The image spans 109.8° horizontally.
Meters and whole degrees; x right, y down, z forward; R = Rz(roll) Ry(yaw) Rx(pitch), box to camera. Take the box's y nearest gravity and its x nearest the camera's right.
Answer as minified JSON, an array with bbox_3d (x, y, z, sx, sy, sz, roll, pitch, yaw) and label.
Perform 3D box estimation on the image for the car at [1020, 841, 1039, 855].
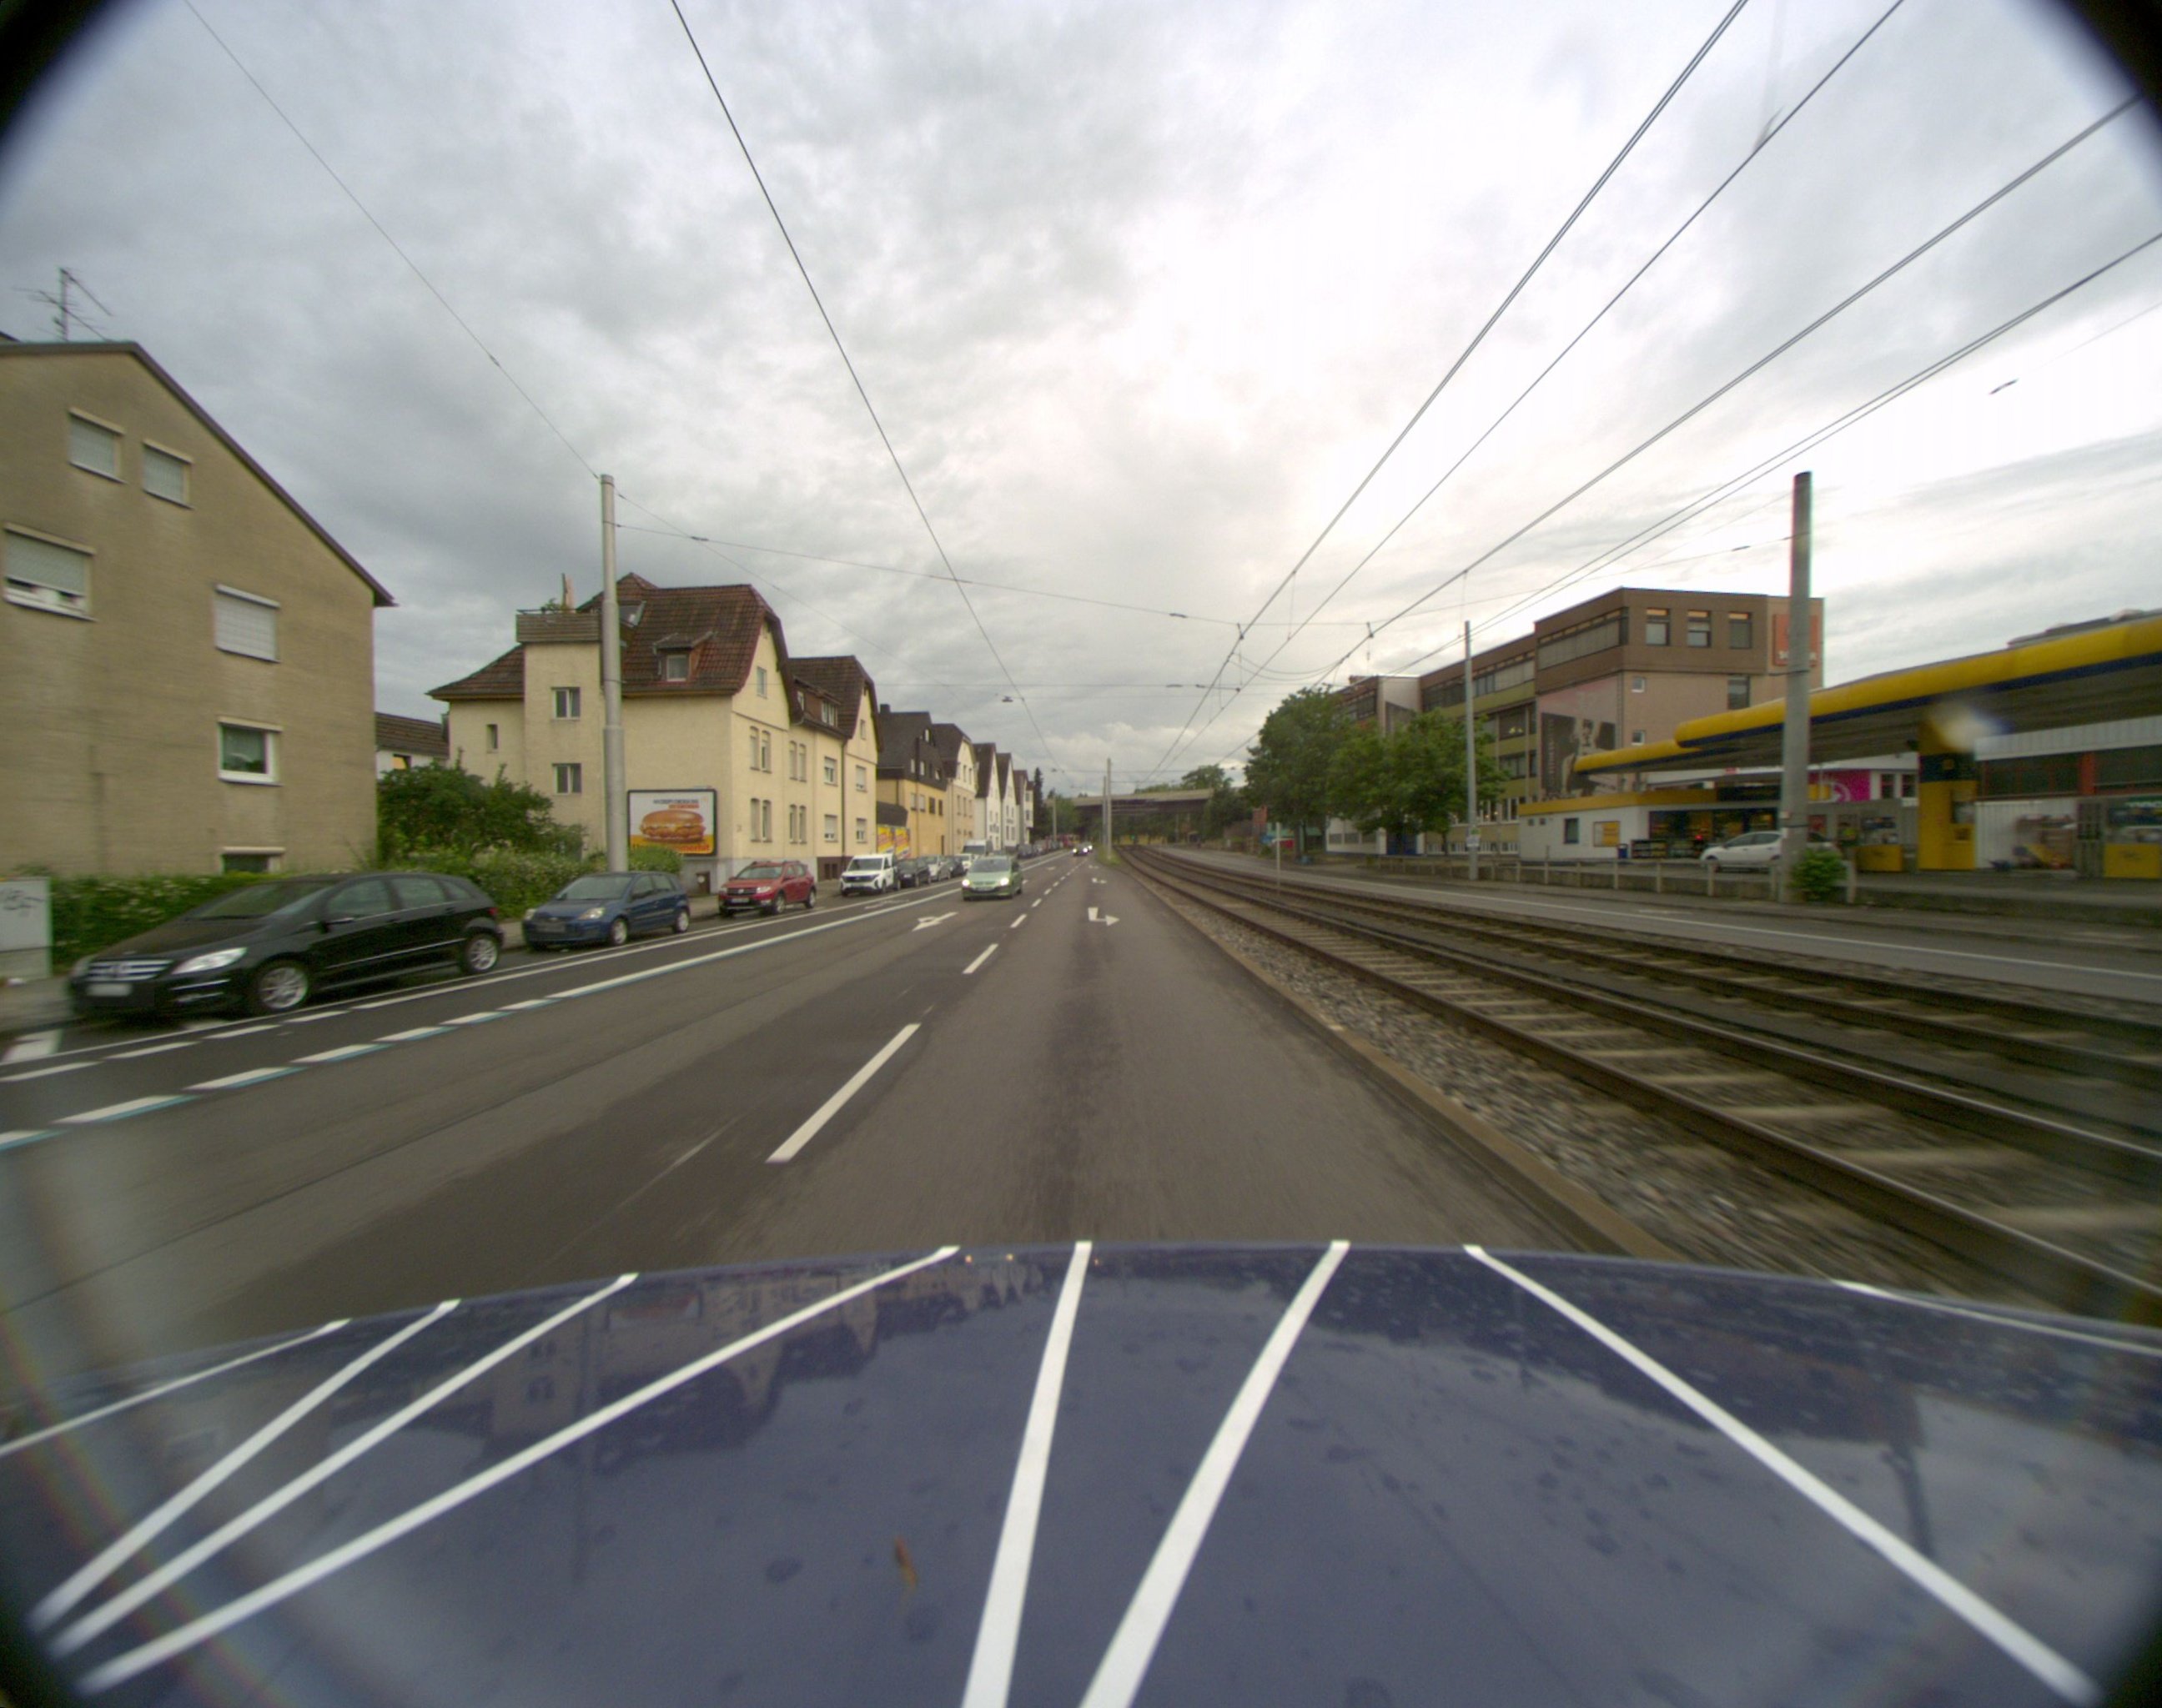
[{"bbox_3d":[-6.165,-0.715,91.952,1.726,1.539,4.200,-2,2,3],"label":"car"}]

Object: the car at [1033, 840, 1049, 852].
[{"bbox_3d":[-5.396,-1.103,102.603,1.726,1.539,4.200,-2,2,3],"label":"car"}]

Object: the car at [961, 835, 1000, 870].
[{"bbox_3d":[-7.892,-0.191,60.316,2.045,2.485,5.919,-2,2,1],"label":"car"}]

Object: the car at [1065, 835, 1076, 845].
[{"bbox_3d":[-2.095,-2.843,152.714,1.726,1.994,4.200,-2,2,3],"label":"car"}]

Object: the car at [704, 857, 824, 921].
[{"bbox_3d":[-9.575,0.992,23.331,1.841,1.618,4.099,-2,1,1],"label":"car"}]

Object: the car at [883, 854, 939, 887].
[{"bbox_3d":[-8.631,0.798,38.915,1.690,1.503,4.137,-2,1,2],"label":"car"}]

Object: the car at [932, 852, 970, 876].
[{"bbox_3d":[-8.464,0.639,49.833,1.605,1.394,3.791,-2,1,2],"label":"car"}]

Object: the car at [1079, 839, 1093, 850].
[{"bbox_3d":[0.681,-1.390,109.801,1.888,1.417,4.199,-2,2,0],"label":"car"}]

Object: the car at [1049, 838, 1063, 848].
[{"bbox_3d":[-4.067,-1.779,124.362,1.726,1.539,4.200,-2,2,3],"label":"car"}]

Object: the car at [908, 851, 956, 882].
[{"bbox_3d":[-8.642,0.683,44.484,1.705,1.557,4.281,-2,2,2],"label":"car"}]

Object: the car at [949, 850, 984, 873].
[{"bbox_3d":[-8.183,0.503,54.643,1.605,1.456,4.200,-2,1,2],"label":"car"}]

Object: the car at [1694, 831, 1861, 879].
[{"bbox_3d":[23.253,-0.014,25.603,1.775,1.408,4.074,-2,1,-2],"label":"car"}]

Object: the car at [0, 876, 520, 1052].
[{"bbox_3d":[-9.785,1.150,9.714,1.841,1.524,4.438,-2,0,0],"label":"car"}]

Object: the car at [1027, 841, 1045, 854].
[{"bbox_3d":[-5.784,-0.839,97.189,1.726,1.539,4.200,-2,2,3],"label":"car"}]

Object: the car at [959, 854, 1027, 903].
[{"bbox_3d":[-3.107,0.819,27.587,1.888,1.441,4.199,-2,2,0],"label":"car"}]

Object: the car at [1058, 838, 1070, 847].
[{"bbox_3d":[-3.104,-2.094,135.841,1.726,1.539,4.200,-2,2,3],"label":"car"}]

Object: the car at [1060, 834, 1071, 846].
[{"bbox_3d":[-2.853,-2.541,140.392,1.726,2.079,4.200,-2,2,3],"label":"car"}]

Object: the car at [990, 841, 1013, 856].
[{"bbox_3d":[-7.644,-0.529,73.592,1.726,1.338,4.199,-2,2,0],"label":"car"}]

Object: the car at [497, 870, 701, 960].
[{"bbox_3d":[-9.725,1.145,15.746,1.671,1.435,3.928,-2,1,-1],"label":"car"}]

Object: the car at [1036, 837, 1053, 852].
[{"bbox_3d":[-5.142,-1.439,108.281,1.977,1.984,4.434,-2,2,2],"label":"car"}]

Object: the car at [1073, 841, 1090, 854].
[{"bbox_3d":[0.105,-0.830,93.216,1.887,1.417,4.200,-2,2,2],"label":"car"}]

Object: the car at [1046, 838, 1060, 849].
[{"bbox_3d":[-4.405,-1.652,119.845,1.726,1.539,4.200,-2,2,3],"label":"car"}]

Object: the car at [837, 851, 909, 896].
[{"bbox_3d":[-9.027,0.779,33.367,1.852,1.746,4.521,-2,1,-1],"label":"car"}]
